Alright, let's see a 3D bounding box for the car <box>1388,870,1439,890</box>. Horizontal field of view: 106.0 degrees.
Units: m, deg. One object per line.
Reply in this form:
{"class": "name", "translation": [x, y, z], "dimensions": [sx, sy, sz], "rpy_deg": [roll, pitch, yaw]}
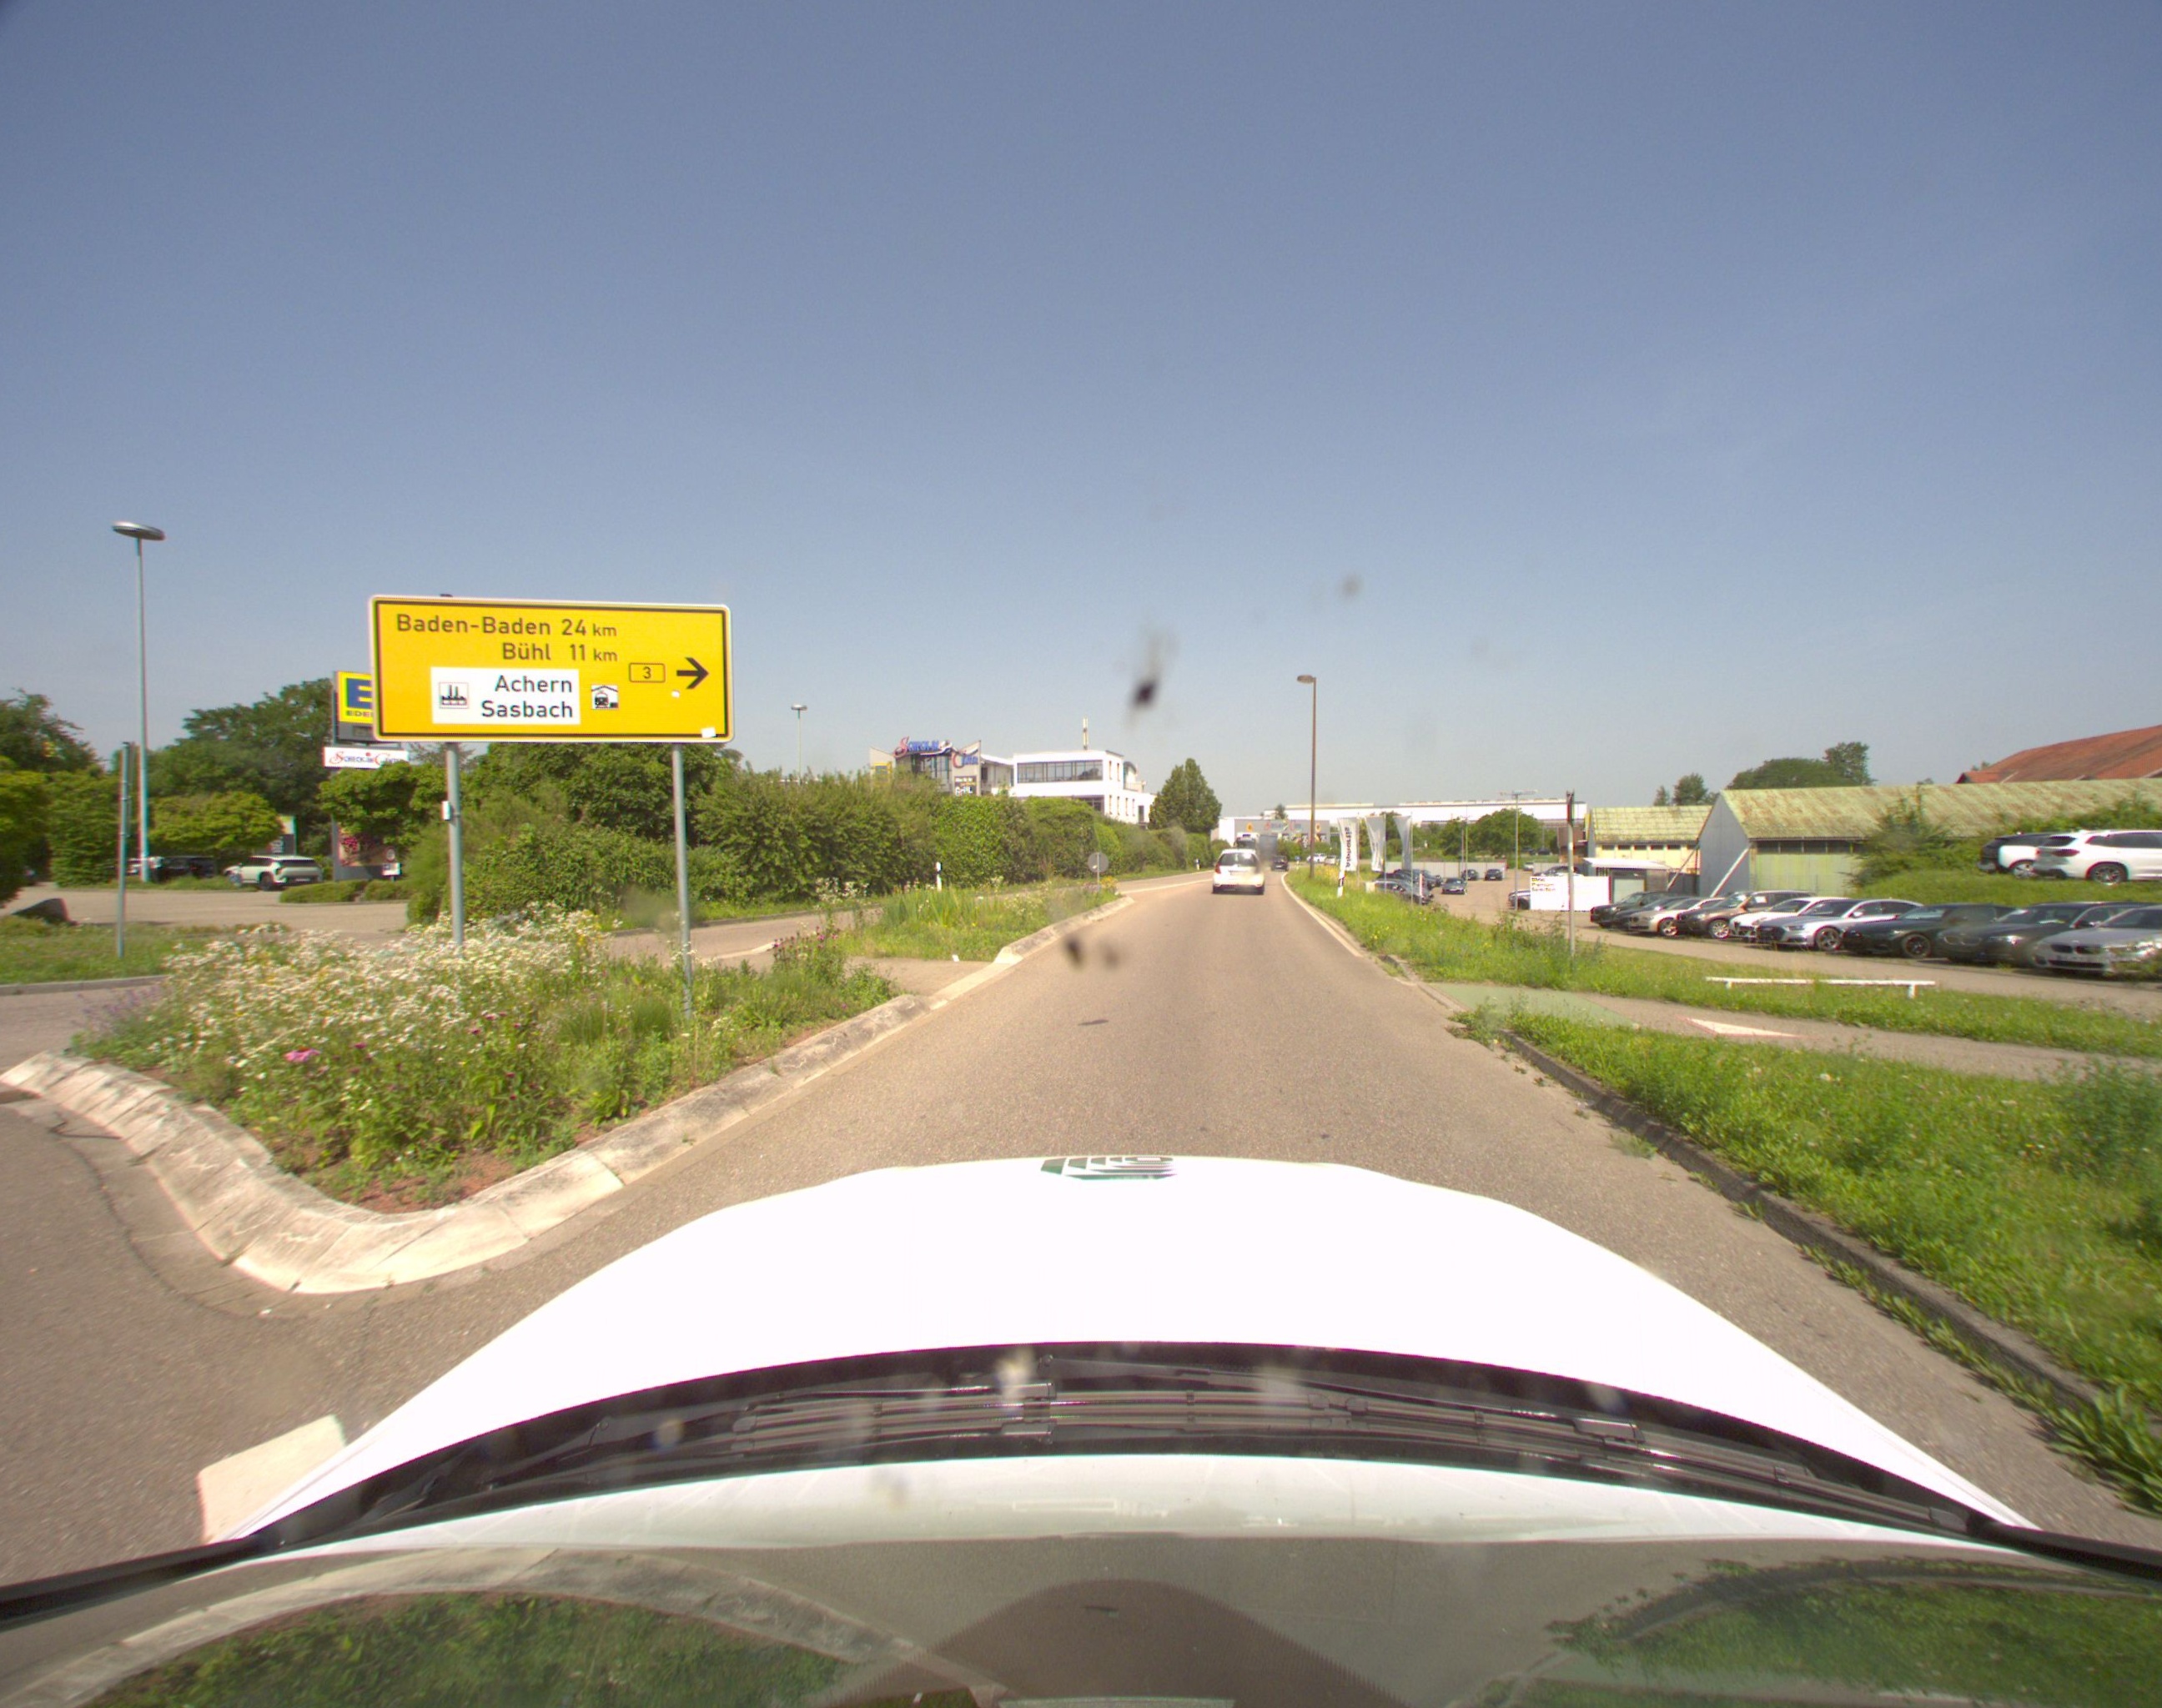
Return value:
{"class": "car", "translation": [32.088, 2.480, 78.743], "dimensions": [1.928, 1.700, 4.188], "rpy_deg": [-2, 2, -38]}

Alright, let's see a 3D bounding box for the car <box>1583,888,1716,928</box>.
{"class": "car", "translation": [25.354, 2.380, 36.472], "dimensions": [4.459, 1.640, 2.150], "rpy_deg": [1, -2, 5]}

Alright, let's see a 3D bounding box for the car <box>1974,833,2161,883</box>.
{"class": "car", "translation": [31.993, 0.138, 26.327], "dimensions": [3.838, 1.532, 1.779], "rpy_deg": [-1, 0, 28]}

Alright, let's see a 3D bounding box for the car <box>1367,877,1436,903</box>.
{"class": "car", "translation": [21.977, 2.450, 55.927], "dimensions": [1.699, 1.523, 4.122], "rpy_deg": [1, 0, -42]}

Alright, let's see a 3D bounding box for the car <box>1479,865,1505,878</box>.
{"class": "car", "translation": [50.007, 2.119, 99.138], "dimensions": [1.974, 1.398, 4.025], "rpy_deg": [1, 0, 40]}

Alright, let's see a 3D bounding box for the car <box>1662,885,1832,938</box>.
{"class": "car", "translation": [23.767, 2.047, 29.222], "dimensions": [4.223, 1.748, 2.005], "rpy_deg": [-2, -3, 9]}

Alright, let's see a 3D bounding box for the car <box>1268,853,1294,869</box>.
{"class": "car", "translation": [19.931, 0.699, 81.099], "dimensions": [1.813, 1.470, 4.433], "rpy_deg": [1, 0, 22]}

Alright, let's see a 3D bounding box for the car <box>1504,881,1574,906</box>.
{"class": "car", "translation": [30.813, 2.617, 54.804], "dimensions": [3.919, 1.523, 1.762], "rpy_deg": [0, -1, 35]}

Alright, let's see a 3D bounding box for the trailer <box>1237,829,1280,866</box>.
{"class": "trailer", "translation": [22.244, -0.674, 101.263], "dimensions": [2.647, 4.241, 14.643], "rpy_deg": [1, 0, 22]}

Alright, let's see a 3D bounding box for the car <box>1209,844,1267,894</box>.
{"class": "car", "translation": [5.731, 0.491, 29.448], "dimensions": [1.768, 1.603, 3.908], "rpy_deg": [2, 1, 14]}

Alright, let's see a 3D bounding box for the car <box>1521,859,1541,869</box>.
{"class": "car", "translation": [68.292, 1.530, 123.581], "dimensions": [1.974, 1.398, 4.025], "rpy_deg": [1, 0, 40]}

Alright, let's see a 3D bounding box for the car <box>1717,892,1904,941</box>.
{"class": "car", "translation": [23.882, 2.031, 26.816], "dimensions": [4.223, 1.465, 1.878], "rpy_deg": [-2, -3, 9]}

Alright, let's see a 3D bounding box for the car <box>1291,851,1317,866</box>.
{"class": "car", "translation": [30.694, 0.610, 112.159], "dimensions": [1.974, 2.013, 4.025], "rpy_deg": [1, 0, 38]}

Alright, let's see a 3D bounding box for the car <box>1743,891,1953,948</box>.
{"class": "car", "translation": [22.814, 1.925, 24.360], "dimensions": [4.405, 1.465, 1.923], "rpy_deg": [-2, -3, 0]}

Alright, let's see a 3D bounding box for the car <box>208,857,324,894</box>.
{"class": "car", "translation": [-36.909, 0.954, 36.896], "dimensions": [3.957, 1.516, 1.987], "rpy_deg": [1, 0, 16]}

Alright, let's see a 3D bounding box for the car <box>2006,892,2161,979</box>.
{"class": "car", "translation": [22.585, 1.621, 16.899], "dimensions": [4.543, 1.566, 1.922], "rpy_deg": [-2, -3, 0]}

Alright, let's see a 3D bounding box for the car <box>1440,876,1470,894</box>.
{"class": "car", "translation": [33.597, 2.729, 73.077], "dimensions": [2.115, 1.457, 4.559], "rpy_deg": [1, 0, 28]}

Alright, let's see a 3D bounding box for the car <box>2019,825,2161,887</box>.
{"class": "car", "translation": [31.292, 0.043, 23.988], "dimensions": [4.411, 1.747, 1.850], "rpy_deg": [-1, 0, 28]}

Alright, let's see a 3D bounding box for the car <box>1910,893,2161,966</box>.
{"class": "car", "translation": [22.818, 1.746, 19.343], "dimensions": [4.234, 1.482, 1.922], "rpy_deg": [-2, -3, 0]}

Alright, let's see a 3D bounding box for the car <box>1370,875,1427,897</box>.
{"class": "car", "translation": [29.526, 2.965, 75.872], "dimensions": [1.867, 1.700, 4.588], "rpy_deg": [-2, 2, -42]}

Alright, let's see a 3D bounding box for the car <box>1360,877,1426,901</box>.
{"class": "car", "translation": [22.644, 2.515, 59.259], "dimensions": [4.120, 1.523, 1.762], "rpy_deg": [1, 0, 44]}

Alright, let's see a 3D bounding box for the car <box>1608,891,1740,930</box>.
{"class": "car", "translation": [24.668, 2.332, 33.998], "dimensions": [3.968, 1.552, 2.002], "rpy_deg": [-1, -2, 4]}

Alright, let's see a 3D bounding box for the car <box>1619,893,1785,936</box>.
{"class": "car", "translation": [24.085, 2.355, 31.766], "dimensions": [4.738, 1.508, 2.005], "rpy_deg": [-2, -3, 9]}

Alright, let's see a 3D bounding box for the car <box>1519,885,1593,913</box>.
{"class": "car", "translation": [30.019, 2.803, 51.483], "dimensions": [3.755, 1.523, 1.762], "rpy_deg": [1, 0, 42]}

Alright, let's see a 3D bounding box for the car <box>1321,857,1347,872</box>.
{"class": "car", "translation": [35.925, 1.468, 115.674], "dimensions": [1.975, 2.013, 4.023], "rpy_deg": [1, 0, 44]}

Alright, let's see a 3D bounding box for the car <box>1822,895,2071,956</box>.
{"class": "car", "translation": [22.887, 1.873, 21.726], "dimensions": [4.223, 1.413, 1.927], "rpy_deg": [-2, -3, 9]}

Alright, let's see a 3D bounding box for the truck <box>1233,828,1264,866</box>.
{"class": "truck", "translation": [19.315, -0.751, 93.695], "dimensions": [2.491, 4.257, 6.145], "rpy_deg": [-1, -1, 22]}

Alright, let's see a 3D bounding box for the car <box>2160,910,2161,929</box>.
{"class": "car", "translation": [22.140, 1.633, 14.230], "dimensions": [4.551, 1.421, 1.780], "rpy_deg": [-2, -3, -5]}

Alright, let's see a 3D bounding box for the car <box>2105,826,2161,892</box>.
{"class": "car", "translation": [30.740, 0.094, 21.394], "dimensions": [4.411, 1.747, 1.850], "rpy_deg": [-1, 0, 28]}
